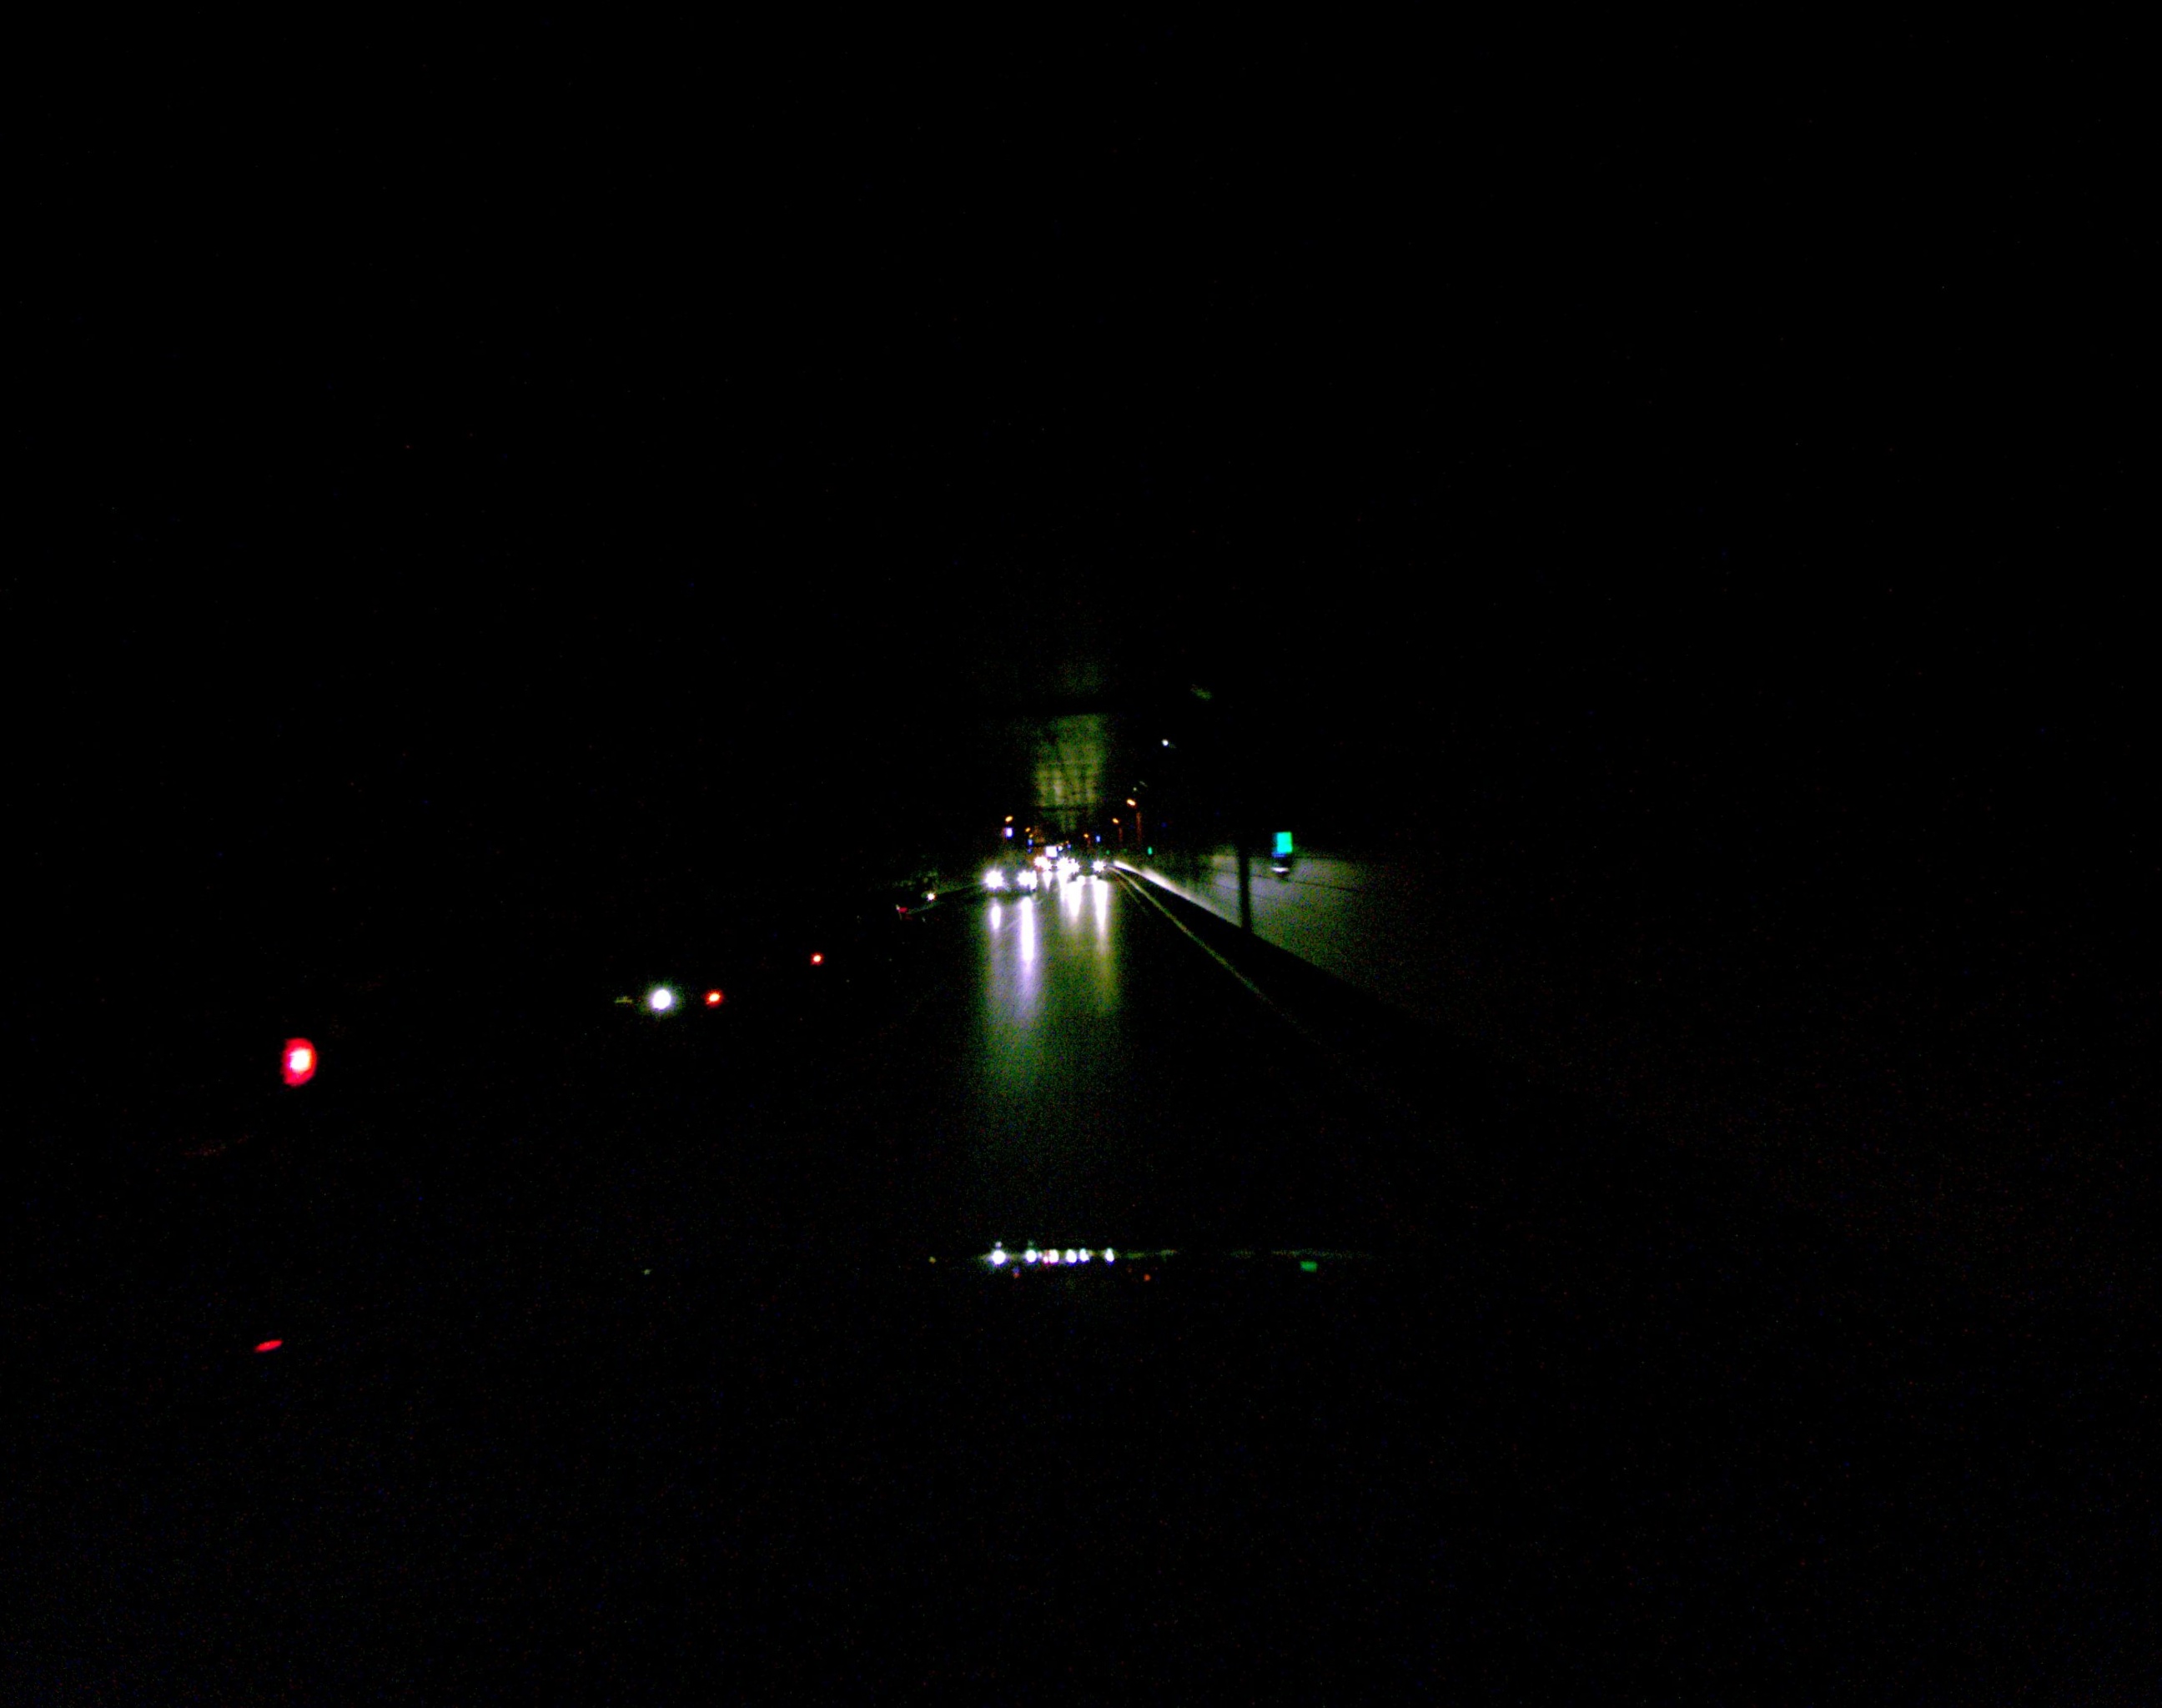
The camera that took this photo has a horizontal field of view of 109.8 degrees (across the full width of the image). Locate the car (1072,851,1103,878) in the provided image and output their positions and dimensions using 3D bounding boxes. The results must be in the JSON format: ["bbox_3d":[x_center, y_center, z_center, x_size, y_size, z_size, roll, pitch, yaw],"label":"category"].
[{"bbox_3d":[0.383,0.621,47.193,1.820,1.589,4.000,-1,0,1],"label":"car"}]

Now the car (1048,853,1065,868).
[{"bbox_3d":[-2.657,0.722,83.516,1.736,1.565,3.999,-3,0,-2],"label":"car"}]

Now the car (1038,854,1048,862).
[{"bbox_3d":[-9.204,0.962,184.514,1.998,1.674,3.999,-3,1,0],"label":"car"}]

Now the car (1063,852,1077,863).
[{"bbox_3d":[-1.692,0.566,117.107,1.999,1.576,4.650,-3,1,-1],"label":"car"}]

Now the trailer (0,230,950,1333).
[{"bbox_3d":[-3.569,-0.216,7.175,2.882,3.836,8.947,-3,0,0],"label":"trailer"}]

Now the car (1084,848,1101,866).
[{"bbox_3d":[1.228,0.322,82.119,1.715,1.729,3.998,-3,2,-1],"label":"car"}]

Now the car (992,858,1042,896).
[{"bbox_3d":[-2.691,0.937,32.711,1.735,1.395,3.798,-3,1,0],"label":"car"}]
